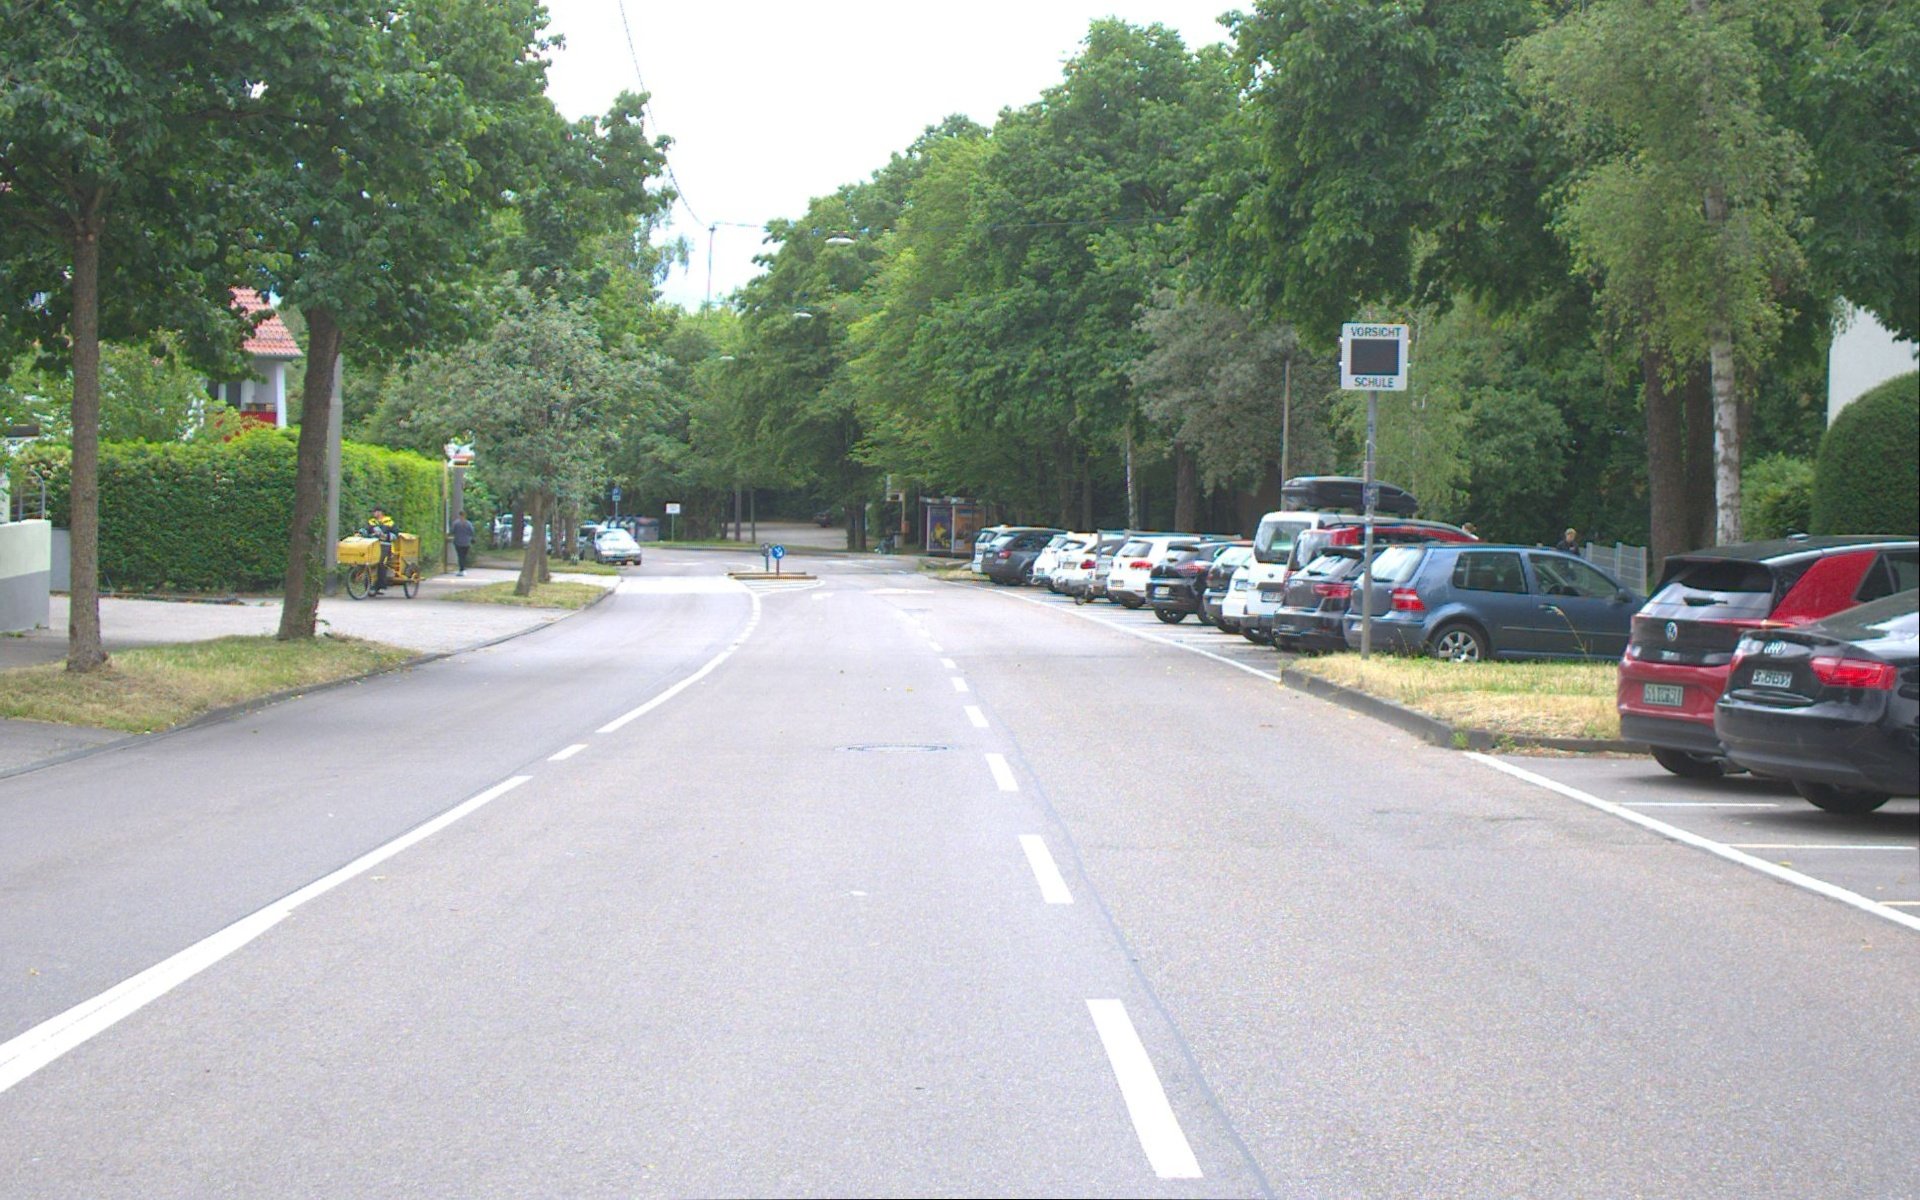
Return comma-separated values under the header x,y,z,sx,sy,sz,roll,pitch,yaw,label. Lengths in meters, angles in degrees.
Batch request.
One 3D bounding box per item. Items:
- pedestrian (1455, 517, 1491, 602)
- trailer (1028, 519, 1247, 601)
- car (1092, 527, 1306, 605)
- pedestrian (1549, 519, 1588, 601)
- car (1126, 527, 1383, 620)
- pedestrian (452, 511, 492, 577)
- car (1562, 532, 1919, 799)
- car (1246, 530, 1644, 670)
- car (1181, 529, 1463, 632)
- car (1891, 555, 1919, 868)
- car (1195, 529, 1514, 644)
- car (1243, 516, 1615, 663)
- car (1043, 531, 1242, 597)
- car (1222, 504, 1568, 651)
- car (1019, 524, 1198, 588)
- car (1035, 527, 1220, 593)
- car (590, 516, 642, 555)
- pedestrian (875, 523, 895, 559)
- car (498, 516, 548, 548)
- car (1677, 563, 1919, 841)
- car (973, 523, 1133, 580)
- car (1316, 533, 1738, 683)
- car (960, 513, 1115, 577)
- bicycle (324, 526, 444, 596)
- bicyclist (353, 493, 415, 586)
x,y,z,sx,sy,sz,roll,pitch,yaw,label
10.186,-0.806,68.302,0.649,1.665,0.743,1,1,5,pedestrian
3.678,-0.830,71.460,4.153,1.568,1.712,2,1,-20,trailer
4.814,-0.682,69.297,3.883,1.444,1.744,1,1,-22,car
11.953,-0.797,67.547,0.649,1.598,0.743,1,1,4,pedestrian
4.984,-0.451,58.146,3.883,1.444,1.845,1,1,-24,car
-12.770,-1.469,89.951,0.974,1.724,0.849,1,1,-5,pedestrian
5.944,0.377,21.202,4.070,1.510,1.734,1,1,-23,car
5.454,-0.002,38.765,4.026,1.400,1.757,2,1,-18,car
5.591,-0.302,53.165,3.883,1.444,1.845,2,1,-20,car
6.339,0.579,15.795,3.609,1.440,1.635,1,1,-16,car
5.504,-0.198,48.137,3.965,1.444,1.919,2,1,-16,car
5.666,-0.133,41.677,3.995,1.614,1.885,2,1,-17,car
3.940,-0.770,74.044,3.883,1.305,1.744,1,1,-25,car
5.651,-0.285,44.602,4.085,1.748,1.787,1,1,-27,car
3.551,-1.050,82.508,3.883,1.424,1.744,1,1,-20,car
3.885,-0.933,79.937,3.883,1.424,1.744,1,1,-20,car
-13.469,-2.519,134.320,1.866,1.466,4.001,1,1,-8,car
-3.280,-2.568,149.998,0.741,1.564,0.651,1,1,10,pedestrian
-20.671,-3.201,162.488,1.866,1.466,4.001,0,1,-14,car
6.207,0.543,18.302,4.311,1.336,1.734,1,1,-14,car
2.494,-1.304,92.496,3.883,1.424,1.744,1,1,-20,car
5.957,0.079,36.244,3.963,1.400,1.757,2,1,-15,car
2.149,-1.518,95.277,3.883,1.662,1.744,1,1,-20,car
-10.745,-0.743,64.215,0.846,1.262,2.648,2,2,24,bicycle
-10.748,-1.139,64.165,0.846,1.691,0.713,2,2,24,bicyclist
